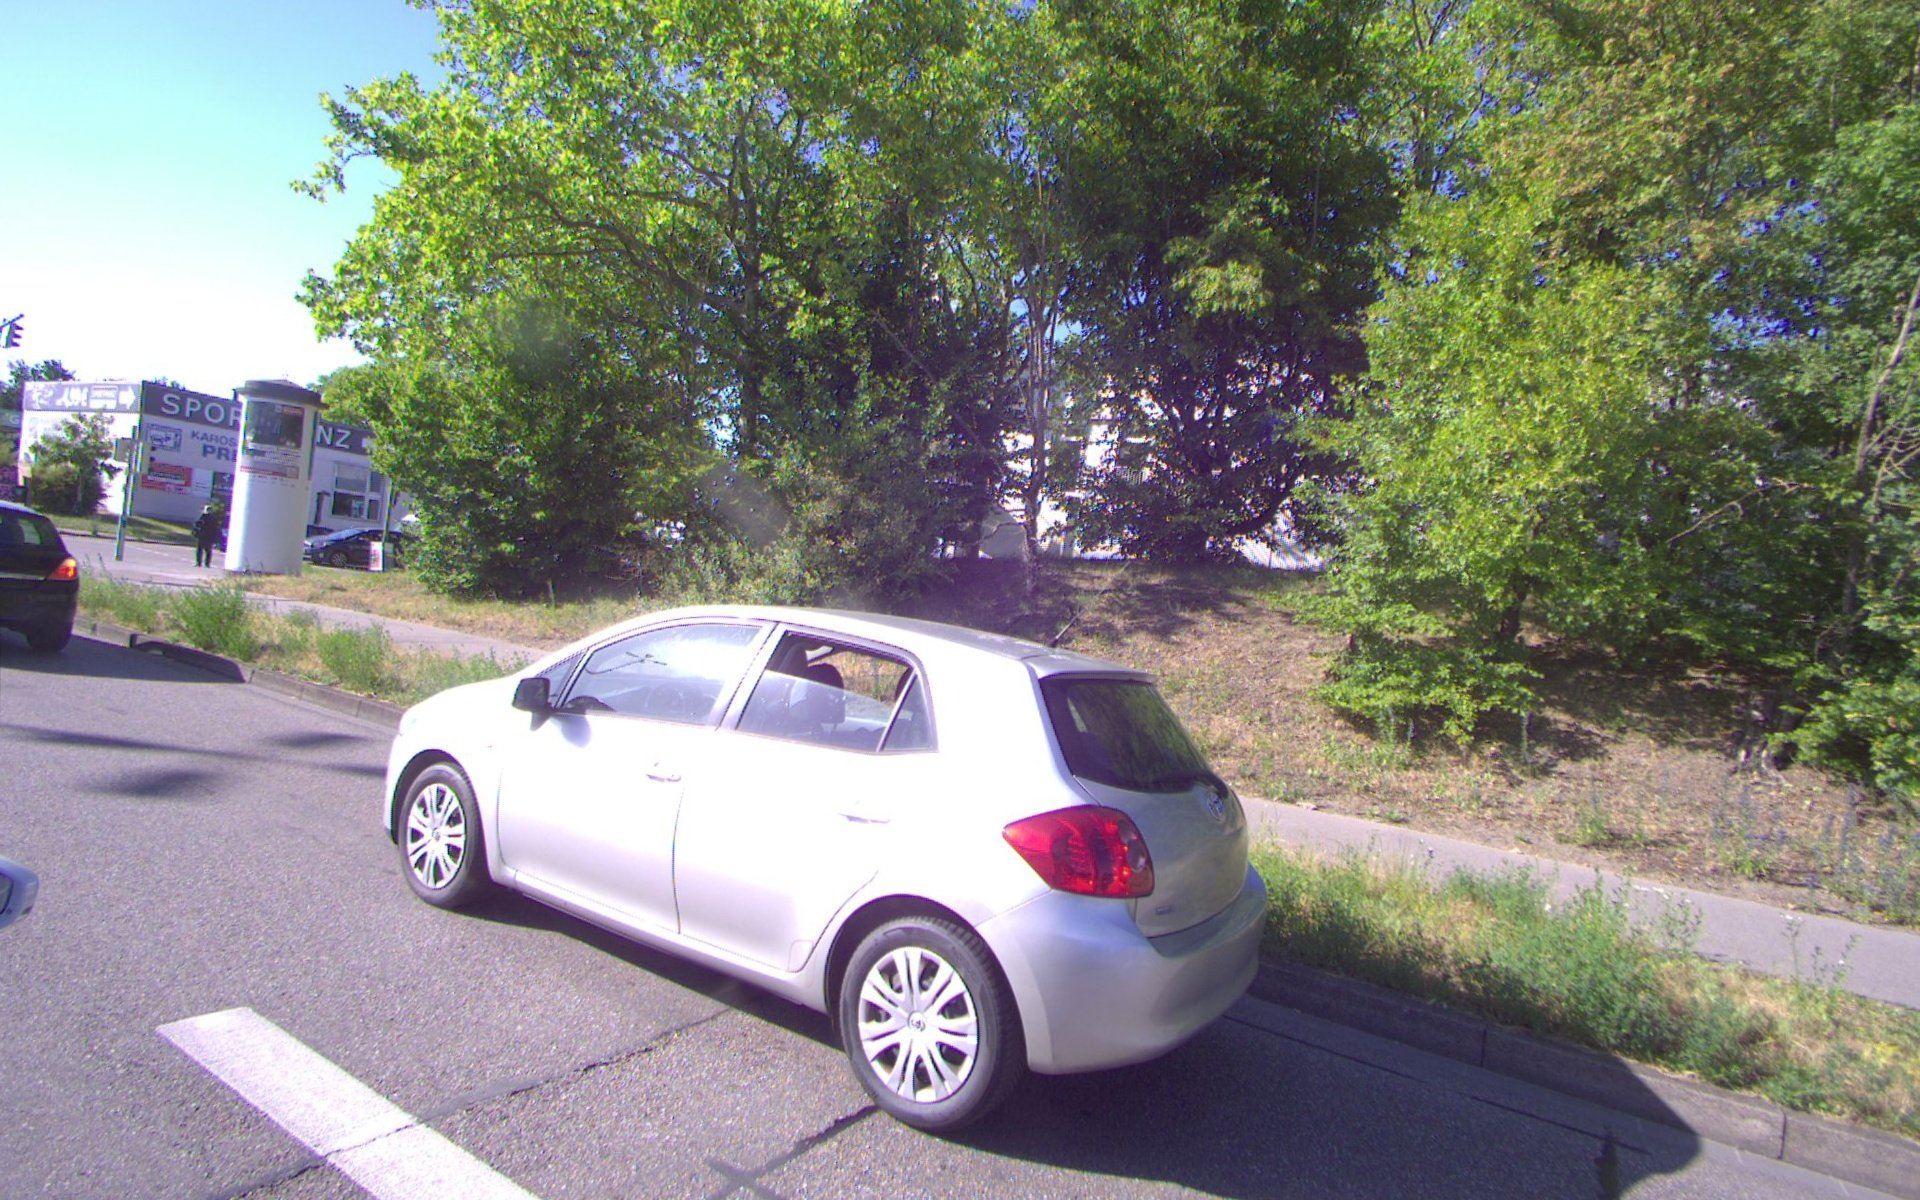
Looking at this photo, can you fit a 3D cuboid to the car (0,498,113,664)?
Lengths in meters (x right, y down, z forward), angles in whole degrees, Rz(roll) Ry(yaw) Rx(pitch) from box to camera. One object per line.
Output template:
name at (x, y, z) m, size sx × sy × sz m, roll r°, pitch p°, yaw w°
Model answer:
car at (-10.550, -0.403, 10.114) m, size 4.299 × 1.458 × 1.737 m, roll 7°, pitch -2°, yaw 32°

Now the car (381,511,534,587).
car at (-22.641, -2.255, 45.629) m, size 1.967 × 2.706 × 5.840 m, roll 6°, pitch 0°, yaw 32°

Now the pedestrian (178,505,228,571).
pedestrian at (-21.067, -1.711, 28.003) m, size 0.506 × 1.688 × 0.818 m, roll 6°, pitch -1°, yaw 31°

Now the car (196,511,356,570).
car at (-26.603, -2.271, 39.321) m, size 1.729 × 1.484 × 4.830 m, roll 6°, pitch -2°, yaw 30°

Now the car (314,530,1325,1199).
car at (-0.763, 0.743, 4.419) m, size 4.039 × 1.555 × 1.787 m, roll 7°, pitch -2°, yaw 32°

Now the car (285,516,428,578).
car at (-23.025, -1.988, 38.562) m, size 1.611 × 1.668 × 4.316 m, roll 6°, pitch -2°, yaw 31°
